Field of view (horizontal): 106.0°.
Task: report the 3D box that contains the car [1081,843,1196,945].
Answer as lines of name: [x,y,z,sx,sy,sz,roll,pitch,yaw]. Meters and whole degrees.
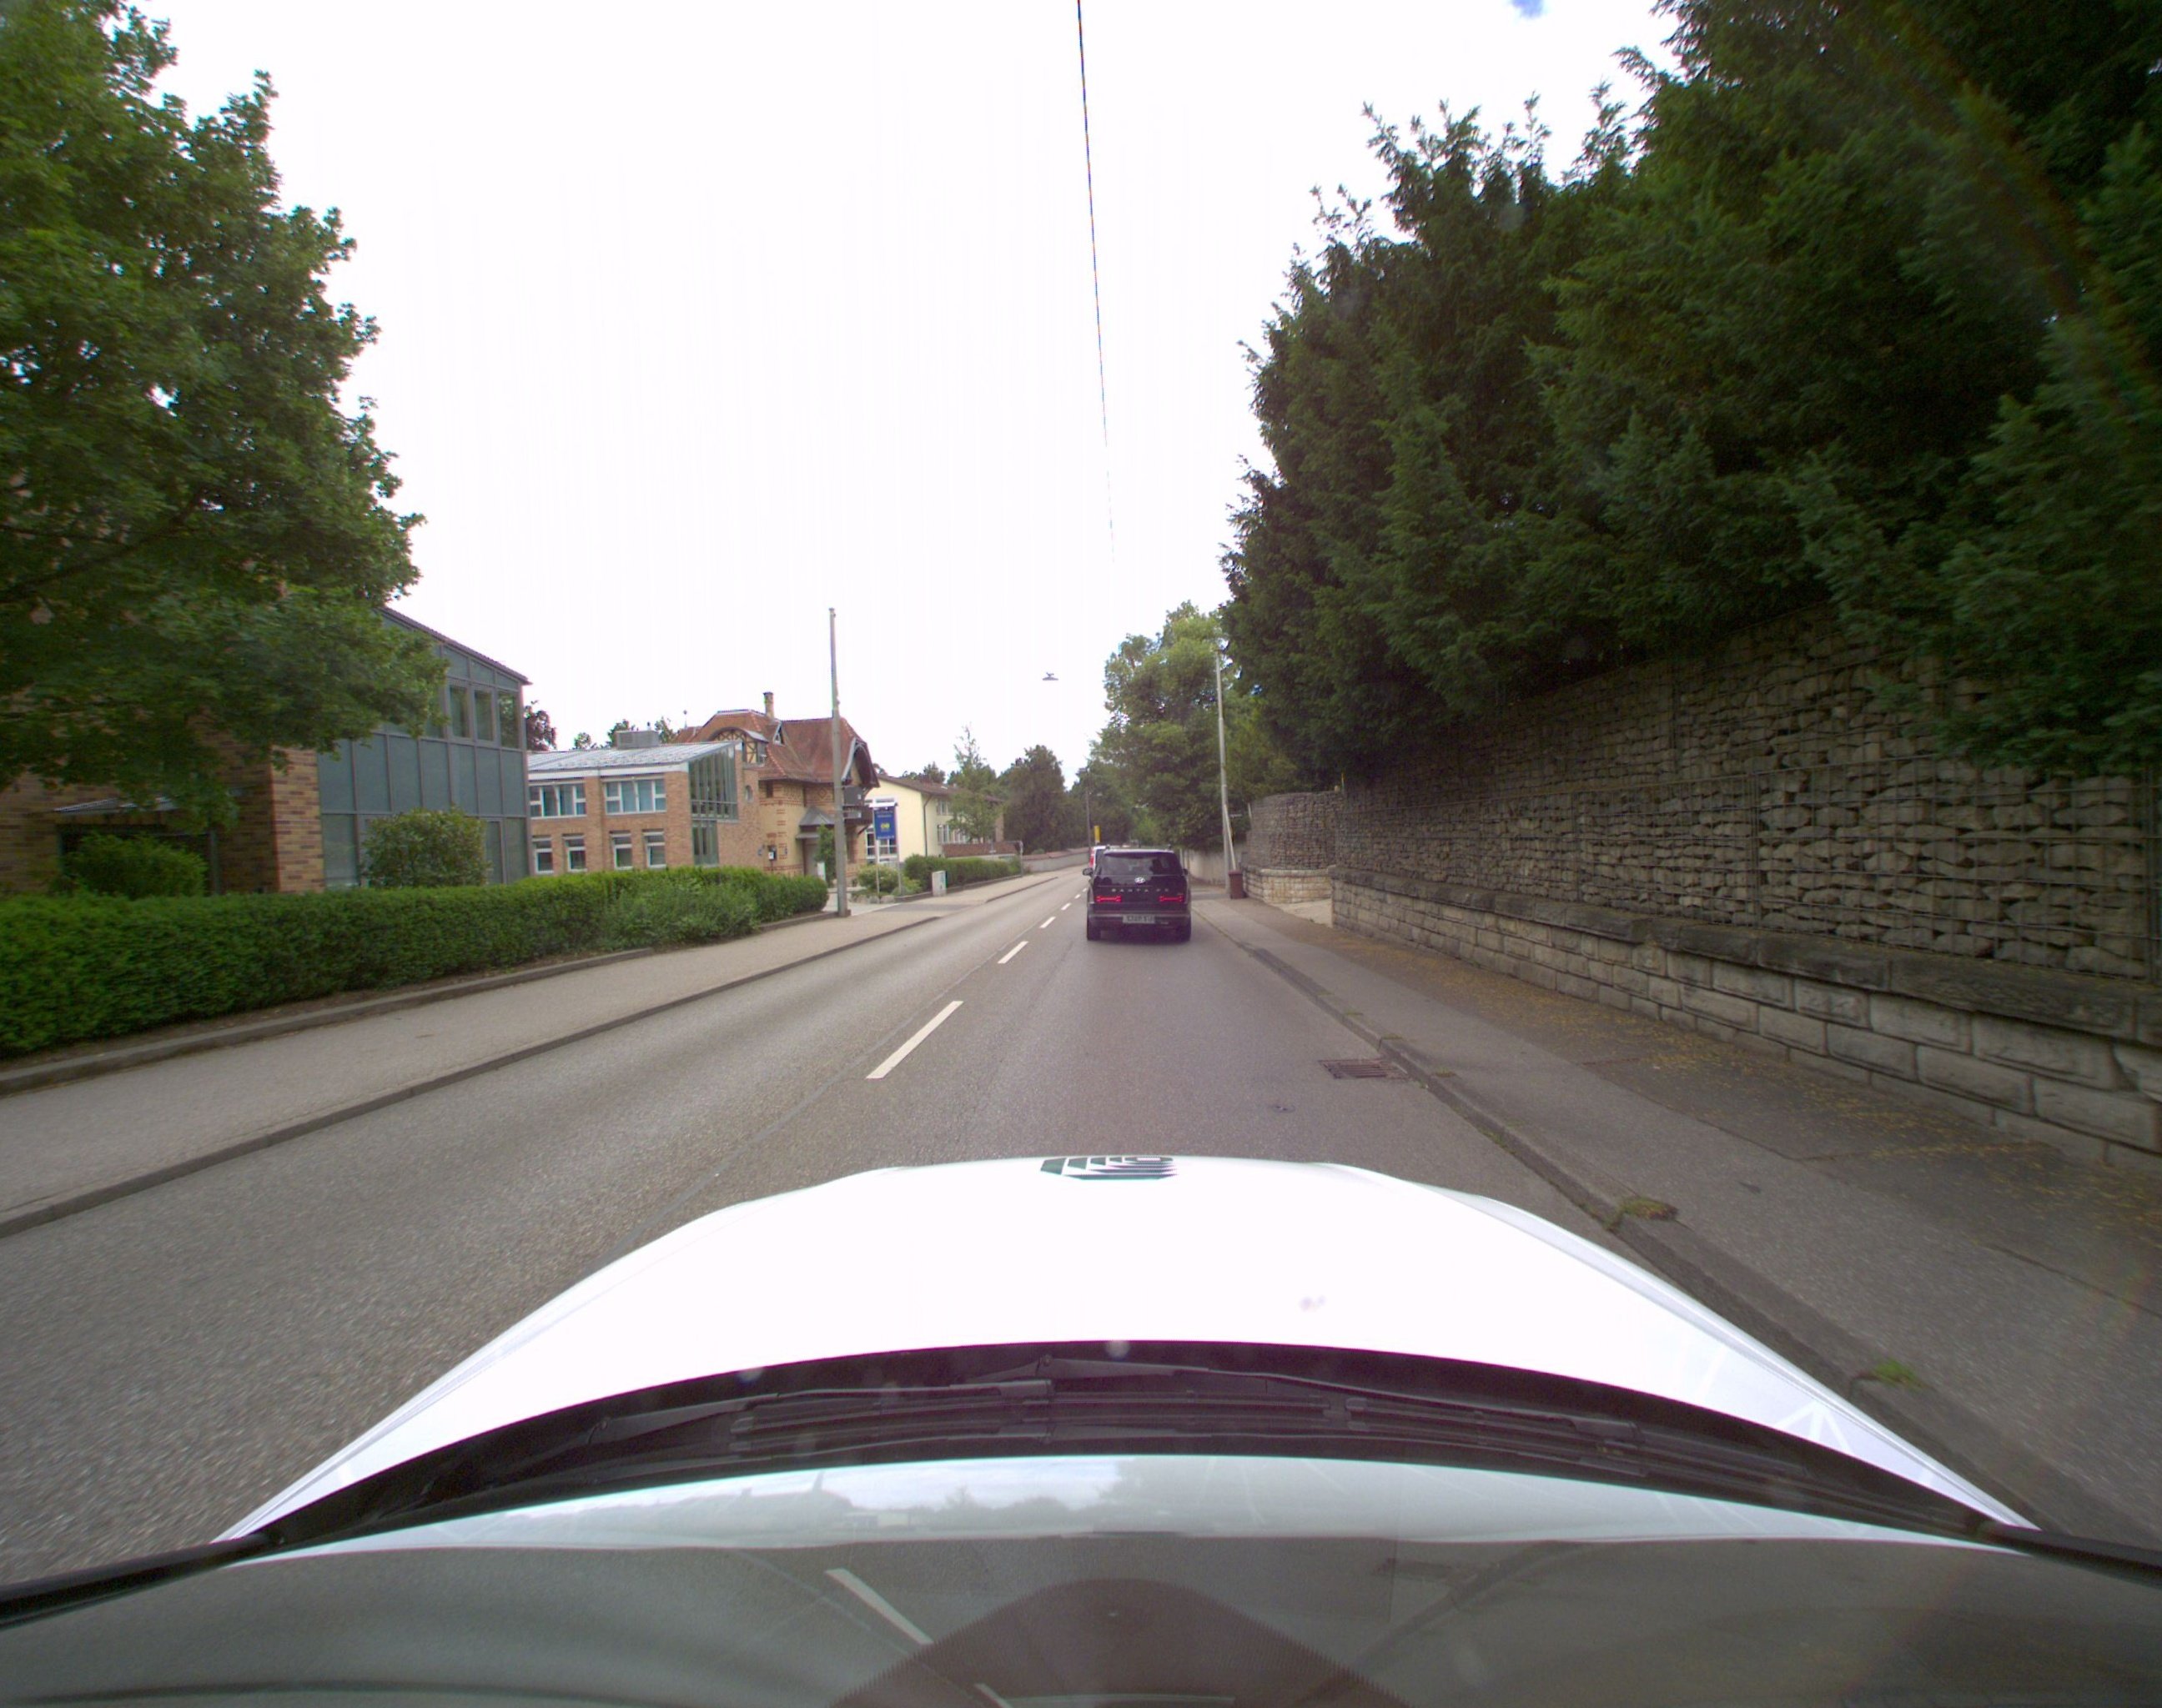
car: [1.090,0.668,15.909,1.949,1.713,4.227,0,0,3]

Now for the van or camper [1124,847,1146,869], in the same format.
van or camper: [5.508,0.356,83.364,1.665,2.007,3.951,-3,1,11]

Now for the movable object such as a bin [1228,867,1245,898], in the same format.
movable object such as a bin: [4.855,0.898,25.455,0.442,0.910,0.395,-6,-1,12]

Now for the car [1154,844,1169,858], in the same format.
car: [11.593,-0.416,117.116,1.946,1.956,4.233,0,0,8]

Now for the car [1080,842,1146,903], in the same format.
car: [1.028,0.580,28.292,1.952,1.956,4.220,0,0,-2]
